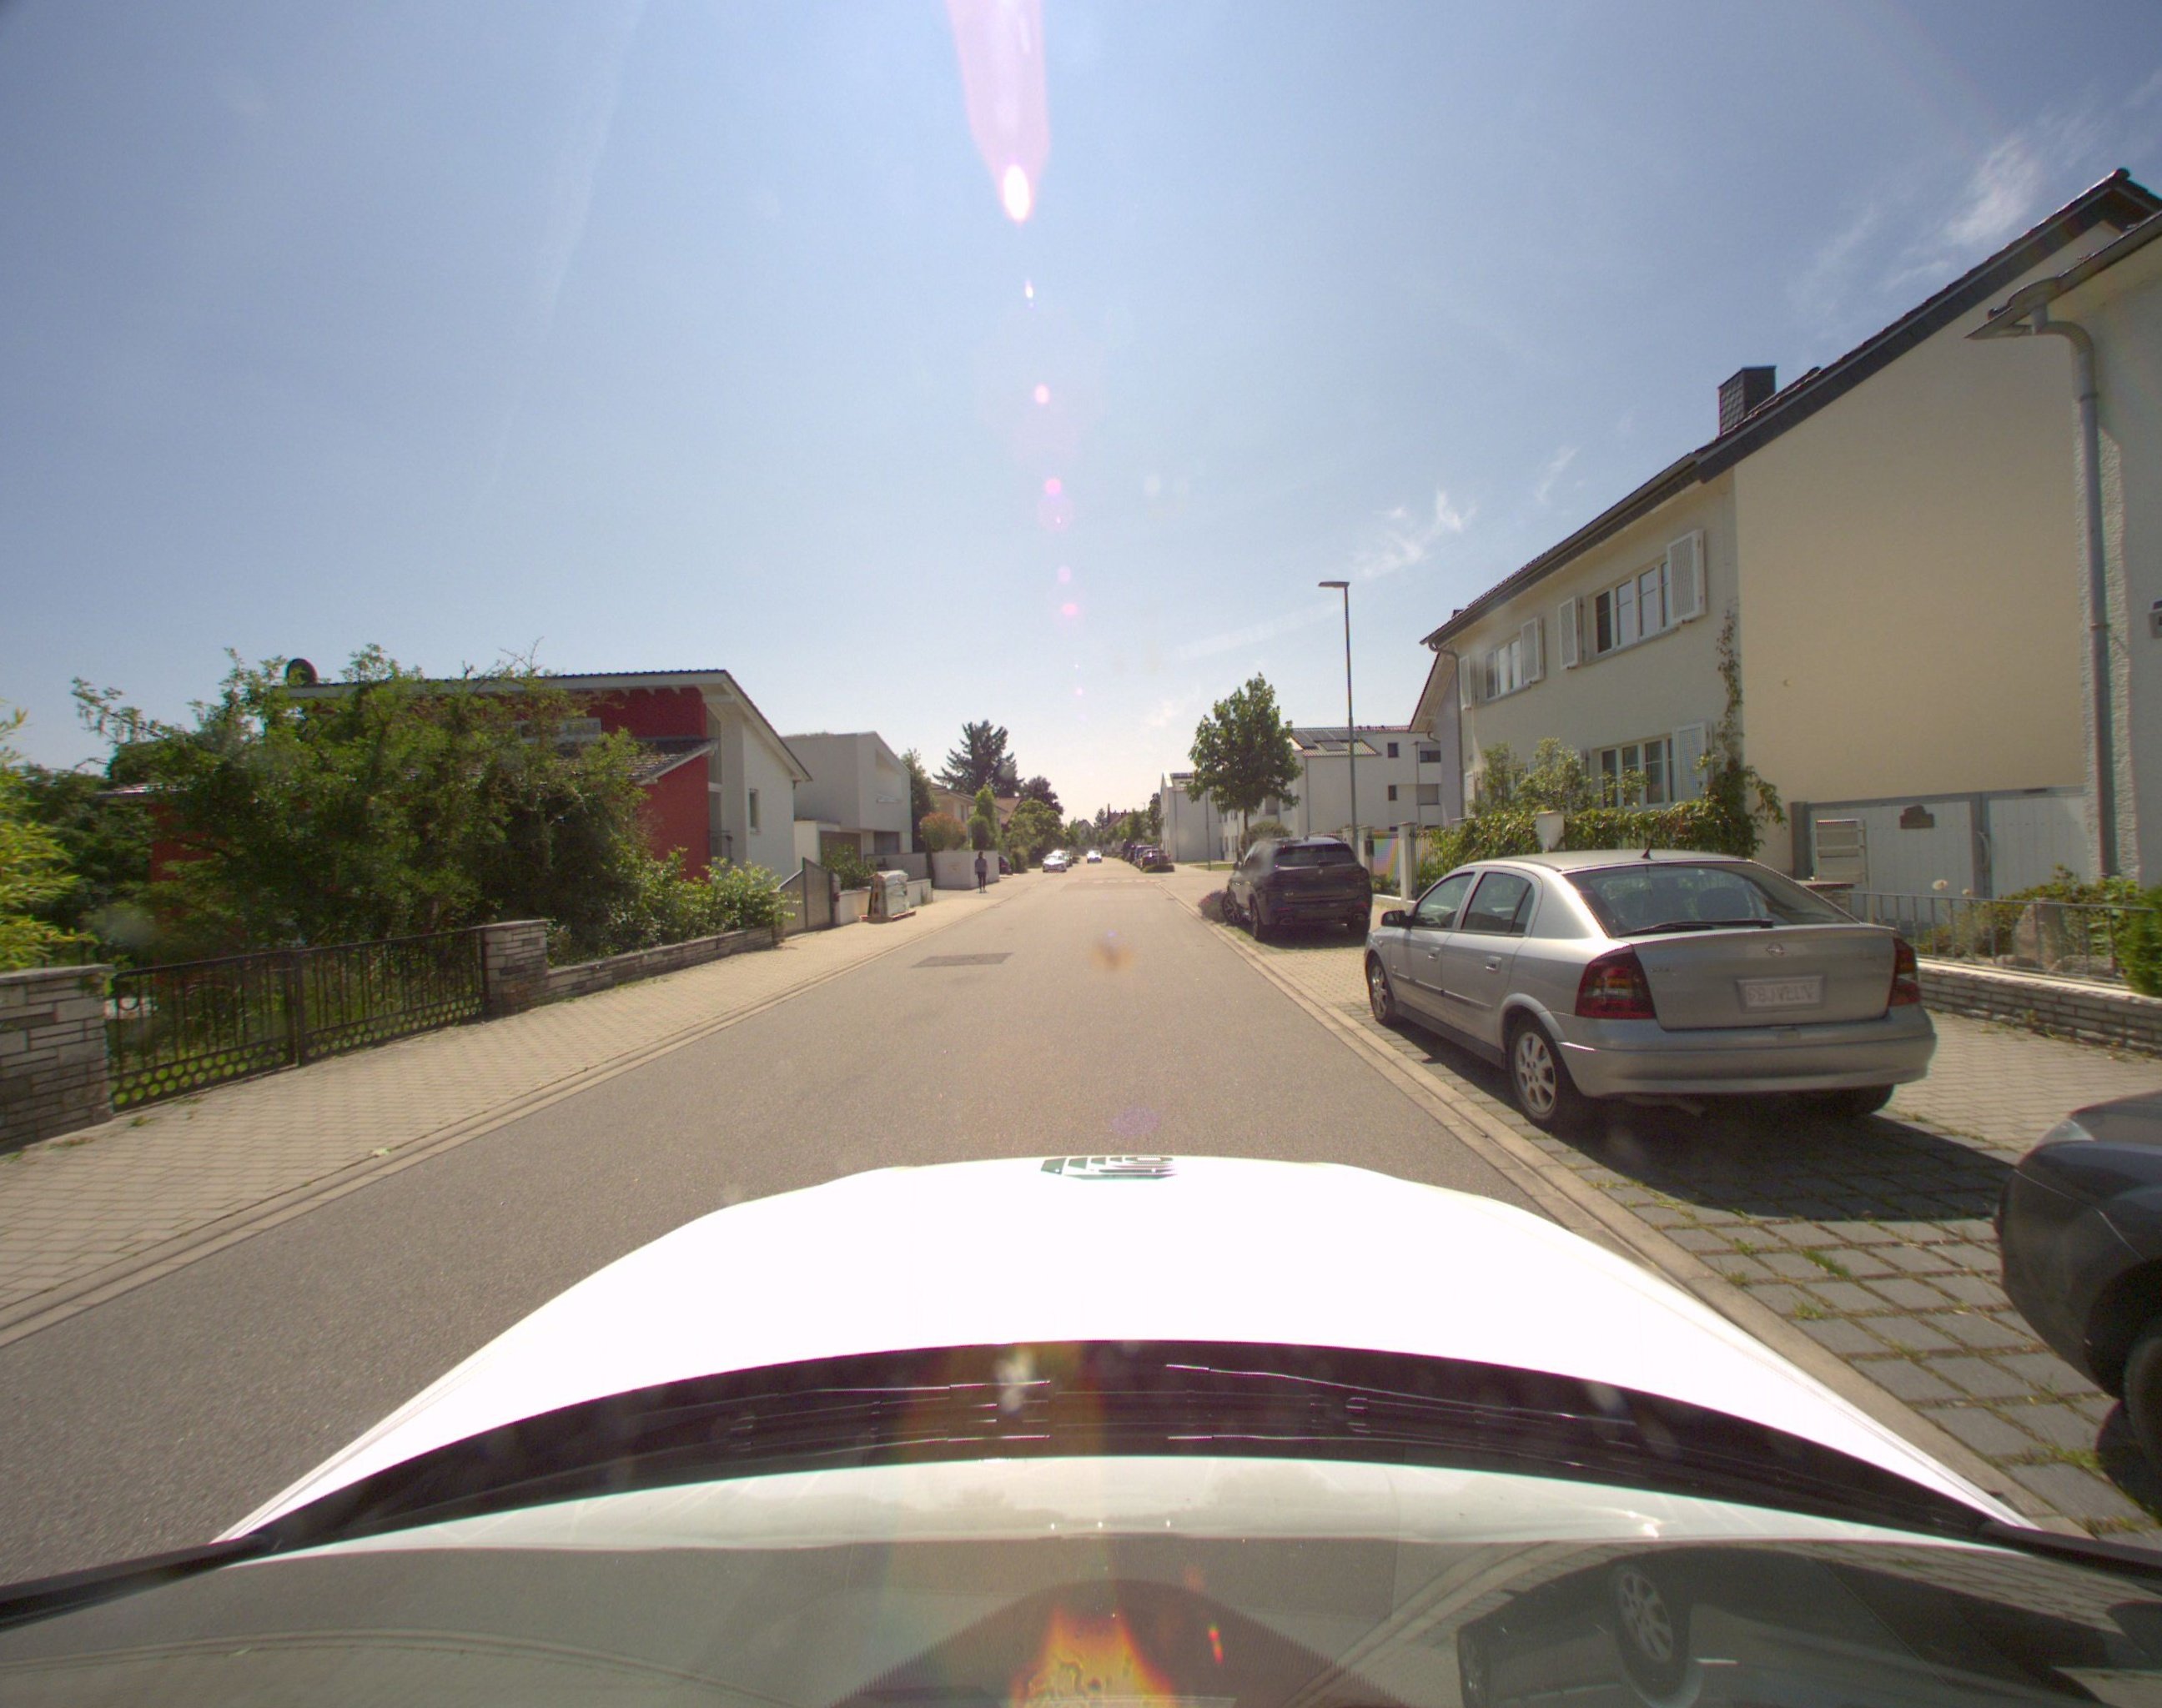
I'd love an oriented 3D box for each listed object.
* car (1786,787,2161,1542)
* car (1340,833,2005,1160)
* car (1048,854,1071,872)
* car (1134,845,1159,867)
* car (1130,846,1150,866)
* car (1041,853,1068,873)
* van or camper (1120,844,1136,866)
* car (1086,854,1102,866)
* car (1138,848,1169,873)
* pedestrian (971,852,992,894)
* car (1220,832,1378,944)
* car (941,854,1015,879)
[{"bbox_3d":[3.032,0.600,0.264,1.736,1.533,4.448,-2,0,0],"label":"car"},{"bbox_3d":[3.309,0.638,5.720,1.807,1.420,4.096,-2,0,3],"label":"car"},{"bbox_3d":[-2.155,0.884,82.034,1.920,1.687,4.500,-2,0,2],"label":"car"},{"bbox_3d":[6.020,0.215,75.120,2.091,1.882,4.846,-2,0,3],"label":"car"},{"bbox_3d":[6.451,0.206,89.309,1.986,1.947,5.217,-3,0,2],"label":"car"},{"bbox_3d":[-2.132,0.731,67.056,1.845,1.488,4.387,-2,0,2],"label":"car"},{"bbox_3d":[6.584,0.128,114.191,1.986,2.941,4.001,-2,0,2],"label":"van or camper"},{"bbox_3d":[1.727,0.712,105.784,1.845,1.478,4.704,-2,0,4],"label":"car"},{"bbox_3d":[5.132,0.430,58.272,1.768,1.595,4.278,-4,0,0],"label":"car"},{"bbox_3d":[-4.272,0.797,35.045,0.711,1.747,0.961,-2,0,2],"label":"pedestrian"},{"bbox_3d":[3.752,0.499,14.823,1.807,1.656,4.568,-2,1,3],"label":"car"},{"bbox_3d":[-6.680,0.803,52.888,4.407,1.473,1.853,1,0,5],"label":"car"}]
